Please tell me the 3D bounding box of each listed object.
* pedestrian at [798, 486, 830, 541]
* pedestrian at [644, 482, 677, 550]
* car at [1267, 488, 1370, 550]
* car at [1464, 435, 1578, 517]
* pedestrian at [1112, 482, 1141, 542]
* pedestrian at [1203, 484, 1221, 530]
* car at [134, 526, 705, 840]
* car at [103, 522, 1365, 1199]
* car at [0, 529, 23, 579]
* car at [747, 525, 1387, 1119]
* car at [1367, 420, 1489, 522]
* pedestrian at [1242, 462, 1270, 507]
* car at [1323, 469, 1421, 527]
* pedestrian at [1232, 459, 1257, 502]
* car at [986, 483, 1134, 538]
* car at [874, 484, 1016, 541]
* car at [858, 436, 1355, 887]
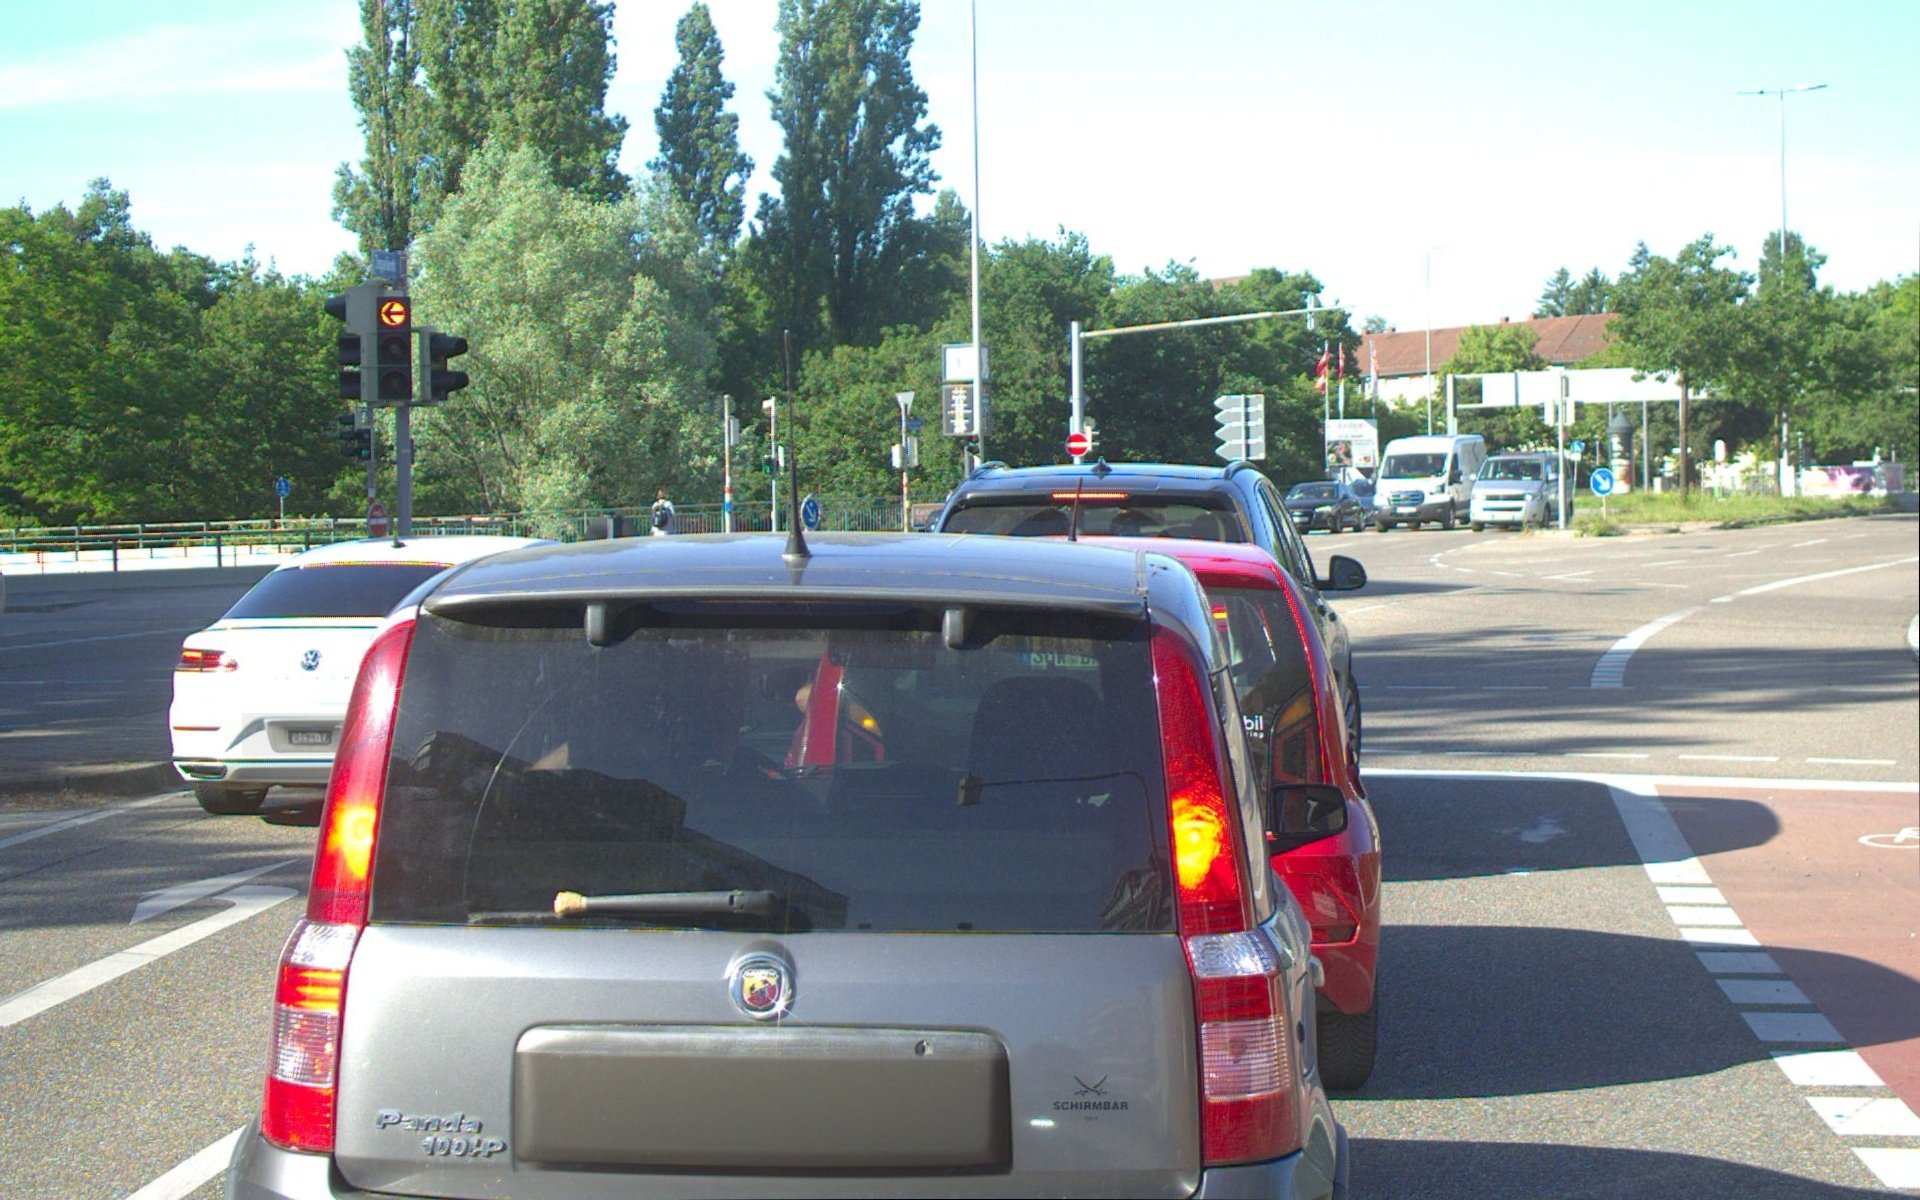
[{"bbox_3d":[-4.257,-2.511,100.275,0.709,1.542,0.729,-3,-1,-16],"label":"pedestrian"},{"bbox_3d":[-6.519,-1.825,74.780,0.679,1.458,0.703,-1,2,-6],"label":"pedestrian"},{"bbox_3d":[9.581,-2.181,91.733,1.938,1.502,3.997,-2,2,17],"label":"car"},{"bbox_3d":[14.196,-3.142,86.738,1.938,2.001,4.927,0,2,20],"label":"car"},{"bbox_3d":[4.312,-2.279,89.173,0.556,1.542,0.576,-2,1,-16],"label":"pedestrian"},{"bbox_3d":[9.428,-3.481,128.471,0.499,1.696,0.499,1,0,24],"label":"pedestrian"},{"bbox_3d":[-2.726,0.344,18.411,1.781,1.410,4.318,0,2,9],"label":"car"},{"bbox_3d":[-0.135,0.651,6.318,1.618,1.510,3.819,-1,2,5],"label":"car"},{"bbox_3d":[-28.686,-1.296,96.321,4.508,1.377,1.784,0,2,21],"label":"car"},{"bbox_3d":[0.426,0.535,10.662,1.618,1.458,3.750,-1,2,5],"label":"car"},{"bbox_3d":[12.400,-3.407,90.724,1.938,2.567,6.083,0,2,20],"label":"car"},{"bbox_3d":[11.001,-4.292,127.837,0.791,1.658,0.628,1,1,40],"label":"pedestrian"},{"bbox_3d":[11.817,-2.936,98.323,1.812,1.536,4.613,-2,2,19],"label":"car"},{"bbox_3d":[10.916,-4.591,131.963,0.721,1.635,0.671,1,0,25],"label":"pedestrian"},{"bbox_3d":[2.982,-2.668,102.000,4.317,1.530,1.784,-3,4,-41],"label":"car"},{"bbox_3d":[-0.446,-2.639,104.124,3.988,1.619,1.900,0,1,-38],"label":"car"},{"bbox_3d":[0.829,0.187,16.157,1.946,1.833,4.152,-1,2,8],"label":"car"}]
